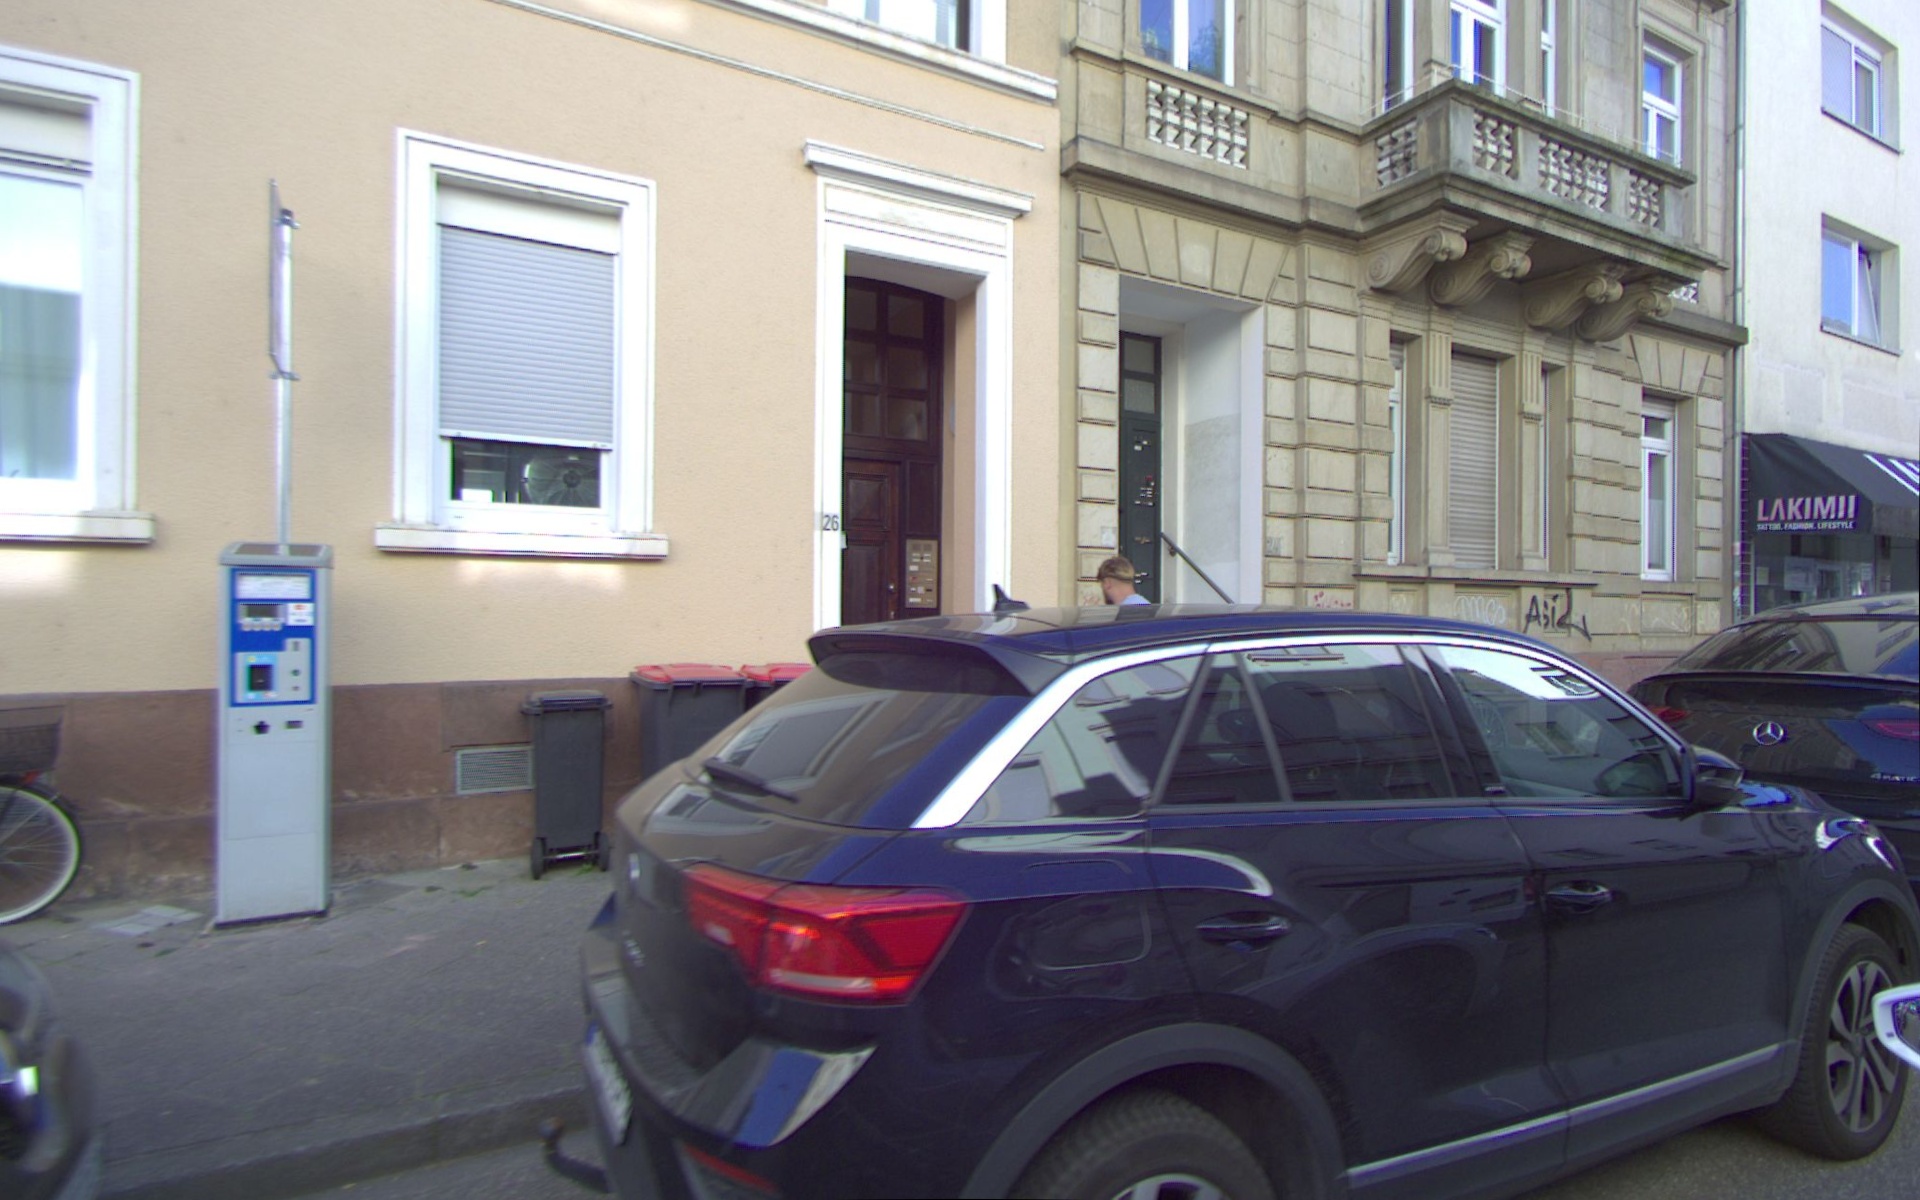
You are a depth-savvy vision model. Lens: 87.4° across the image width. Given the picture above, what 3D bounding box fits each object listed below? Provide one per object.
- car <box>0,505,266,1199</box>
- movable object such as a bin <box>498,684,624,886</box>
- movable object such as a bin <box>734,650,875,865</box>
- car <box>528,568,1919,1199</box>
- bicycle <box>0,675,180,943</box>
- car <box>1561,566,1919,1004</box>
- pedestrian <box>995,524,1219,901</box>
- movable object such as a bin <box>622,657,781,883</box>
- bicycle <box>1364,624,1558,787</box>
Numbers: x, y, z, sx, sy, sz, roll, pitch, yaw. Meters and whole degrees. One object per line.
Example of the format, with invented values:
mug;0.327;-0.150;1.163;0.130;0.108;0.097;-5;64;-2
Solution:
car;-3.058;0.666;0.818;3.930;1.574;1.608;1;-1;-30
movable object such as a bin;-2.132;0.951;5.356;0.554;0.950;0.470;1;1;-30
movable object such as a bin;-0.928;0.880;5.935;0.578;1.147;0.715;2;-1;-32
car;1.107;0.799;3.010;4.311;1.551;1.707;1;-2;-27
bicycle;-4.364;0.860;4.088;1.816;1.070;0.400;2;-1;-32
car;5.856;0.803;5.688;5.079;1.759;1.928;1;-2;-29
pedestrian;0.792;0.573;5.547;0.872;1.861;0.863;2;-1;-26
movable object such as a bin;-1.457;0.894;5.621;0.675;1.103;0.731;-1;0;-32
bicycle;4.336;0.871;8.647;1.843;1.294;0.508;2;-1;-28
